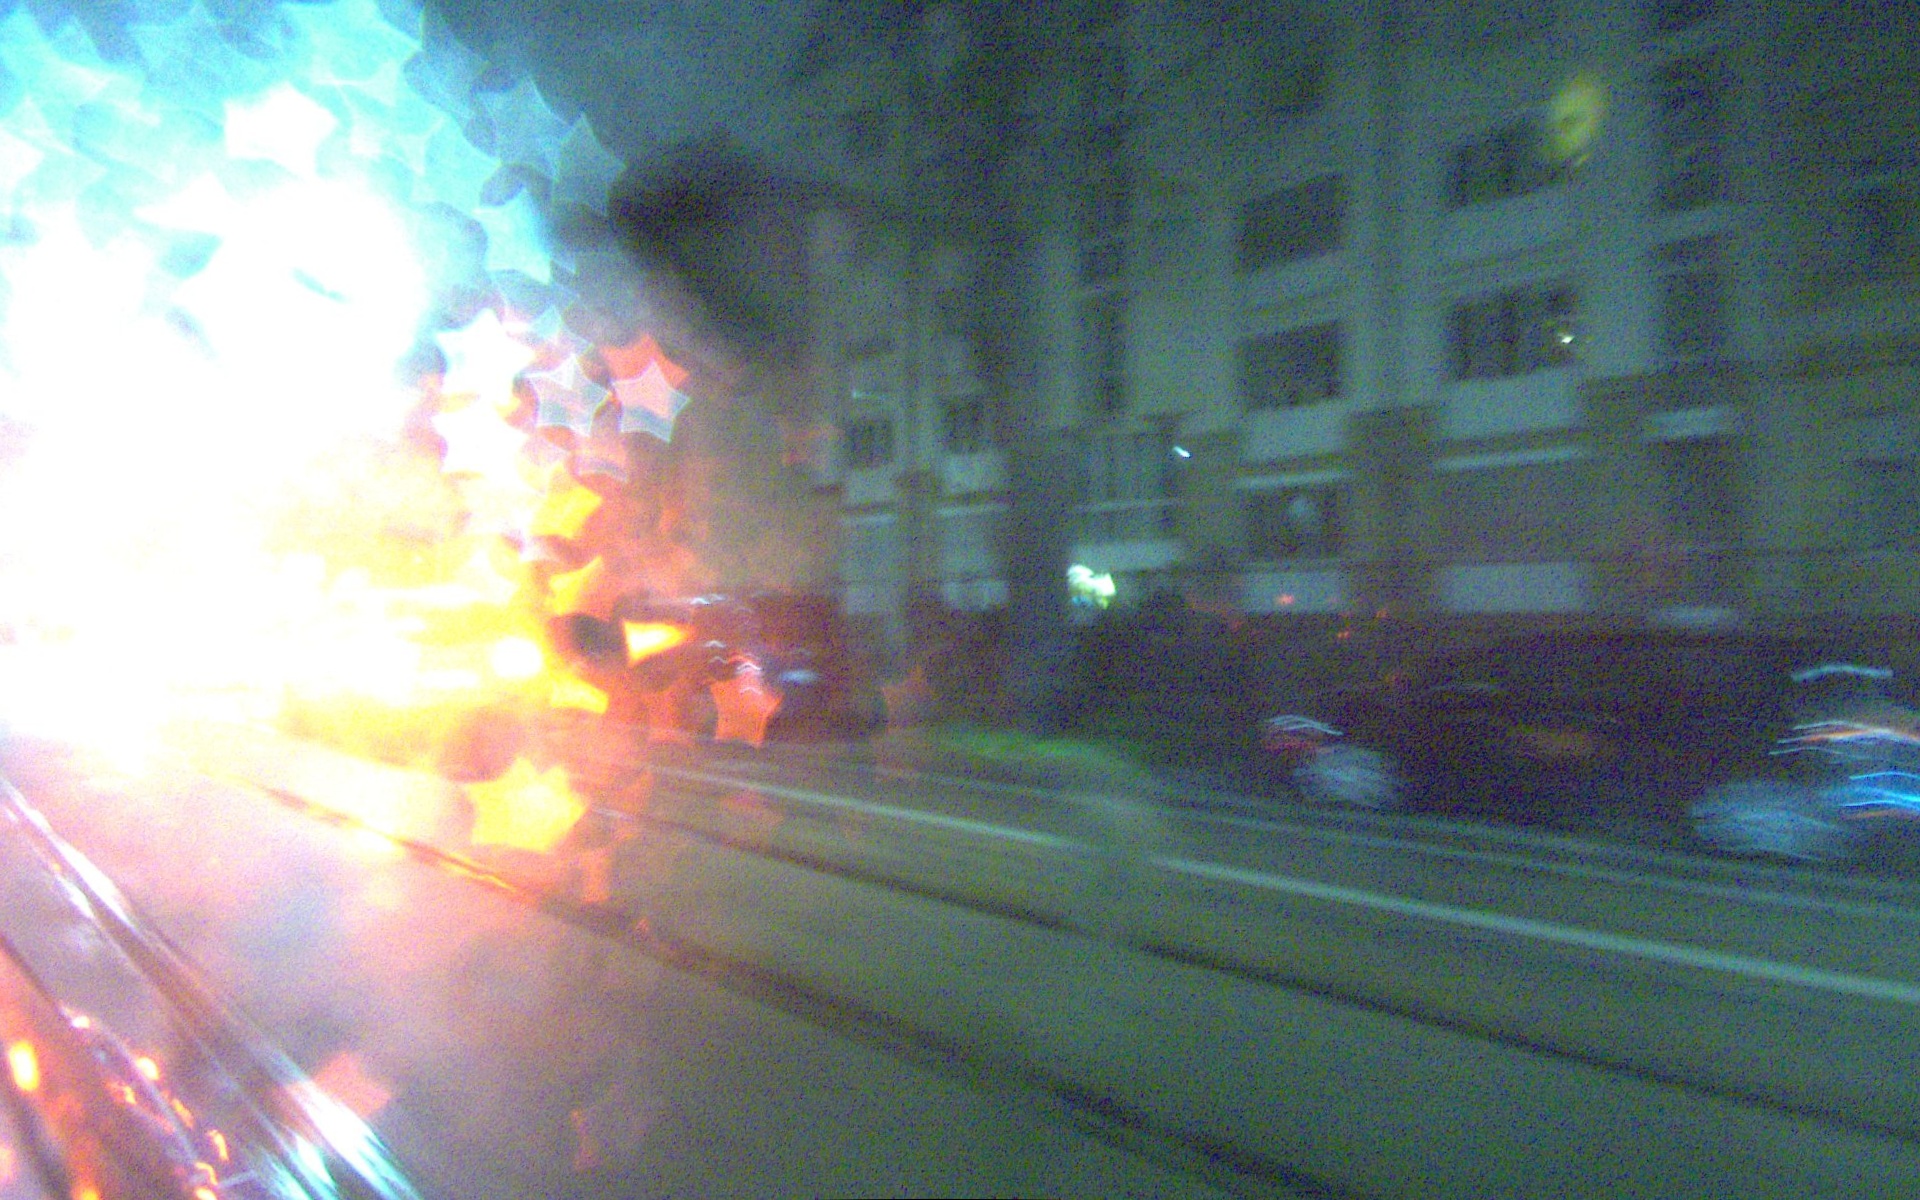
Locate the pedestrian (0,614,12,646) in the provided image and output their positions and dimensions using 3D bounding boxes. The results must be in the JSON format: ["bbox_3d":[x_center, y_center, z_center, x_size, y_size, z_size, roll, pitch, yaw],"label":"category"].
[{"bbox_3d":[-53.851,1.686,56.886,0.671,1.787,0.707,0,3,44],"label":"pedestrian"}]

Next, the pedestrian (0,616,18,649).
[{"bbox_3d":[-52.261,1.780,55.511,0.715,1.787,0.664,-1,2,32],"label":"pedestrian"}]

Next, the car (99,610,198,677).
[{"bbox_3d":[-24.844,1.264,30.923,4.538,1.883,1.873,-1,-1,45],"label":"car"}]

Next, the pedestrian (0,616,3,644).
[{"bbox_3d":[-56.266,1.758,58.990,0.525,1.641,0.400,-2,2,-1],"label":"pedestrian"}]

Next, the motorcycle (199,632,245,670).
[{"bbox_3d":[-25.457,1.744,34.901,2.323,1.239,0.700,0,-1,39],"label":"motorcycle"}]

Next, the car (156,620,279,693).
[{"bbox_3d":[-17.077,1.242,23.214,1.771,1.475,3.904,-1,-1,-44],"label":"car"}]

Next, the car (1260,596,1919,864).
[{"bbox_3d":[4.565,0.748,7.463,4.138,1.417,1.748,-1,2,40],"label":"car"}]

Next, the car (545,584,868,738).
[{"bbox_3d":[-3.974,0.830,15.216,5.306,1.839,1.973,-2,2,41],"label":"car"}]

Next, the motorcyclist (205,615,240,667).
[{"bbox_3d":[-25.448,1.400,34.906,1.027,1.744,0.700,0,-2,39],"label":"motorcyclist"}]

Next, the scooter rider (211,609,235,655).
[{"bbox_3d":[-26.716,1.151,36.677,0.632,1.584,0.654,-3,3,-38],"label":"scooter rider"}]

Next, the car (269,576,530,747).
[{"bbox_3d":[-7.659,0.755,13.616,1.903,1.894,4.640,1,-2,-44],"label":"car"}]

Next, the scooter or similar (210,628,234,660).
[{"bbox_3d":[-26.742,1.575,36.663,0.632,1.060,1.372,-3,3,-37],"label":"scooter or similar"}]

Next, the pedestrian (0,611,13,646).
[{"bbox_3d":[-55.009,1.638,58.172,0.858,2.001,0.602,0,3,39],"label":"pedestrian"}]
